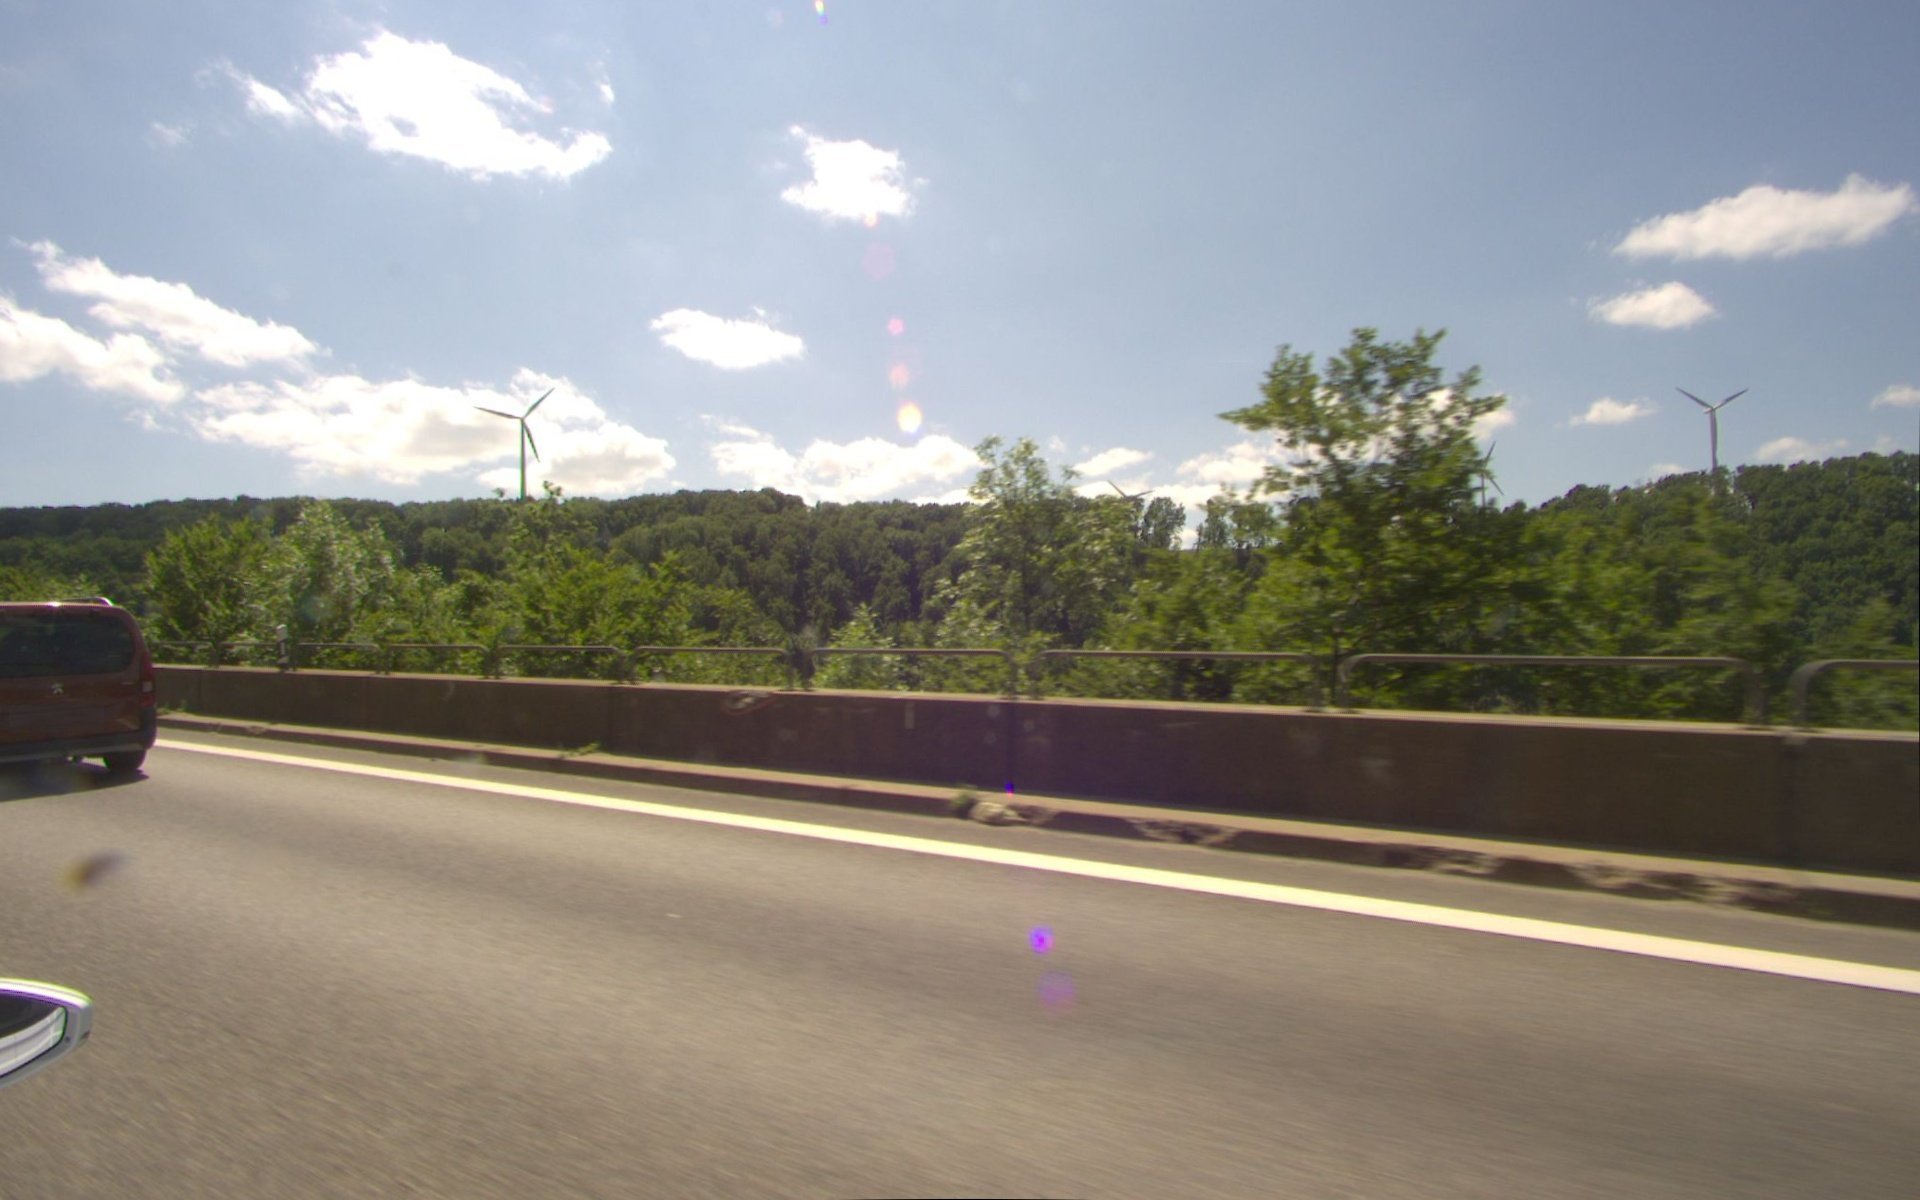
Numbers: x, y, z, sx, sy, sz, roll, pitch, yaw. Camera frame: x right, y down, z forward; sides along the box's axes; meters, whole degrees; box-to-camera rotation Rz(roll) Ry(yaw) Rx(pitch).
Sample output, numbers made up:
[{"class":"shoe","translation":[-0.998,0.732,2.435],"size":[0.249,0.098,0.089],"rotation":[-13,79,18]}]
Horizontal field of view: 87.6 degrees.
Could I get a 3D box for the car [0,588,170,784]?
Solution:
[{"class":"car","translation":[-10.584,0.861,10.837],"size":[4.611,1.807,1.829],"rotation":[-2,-1,33]}]
